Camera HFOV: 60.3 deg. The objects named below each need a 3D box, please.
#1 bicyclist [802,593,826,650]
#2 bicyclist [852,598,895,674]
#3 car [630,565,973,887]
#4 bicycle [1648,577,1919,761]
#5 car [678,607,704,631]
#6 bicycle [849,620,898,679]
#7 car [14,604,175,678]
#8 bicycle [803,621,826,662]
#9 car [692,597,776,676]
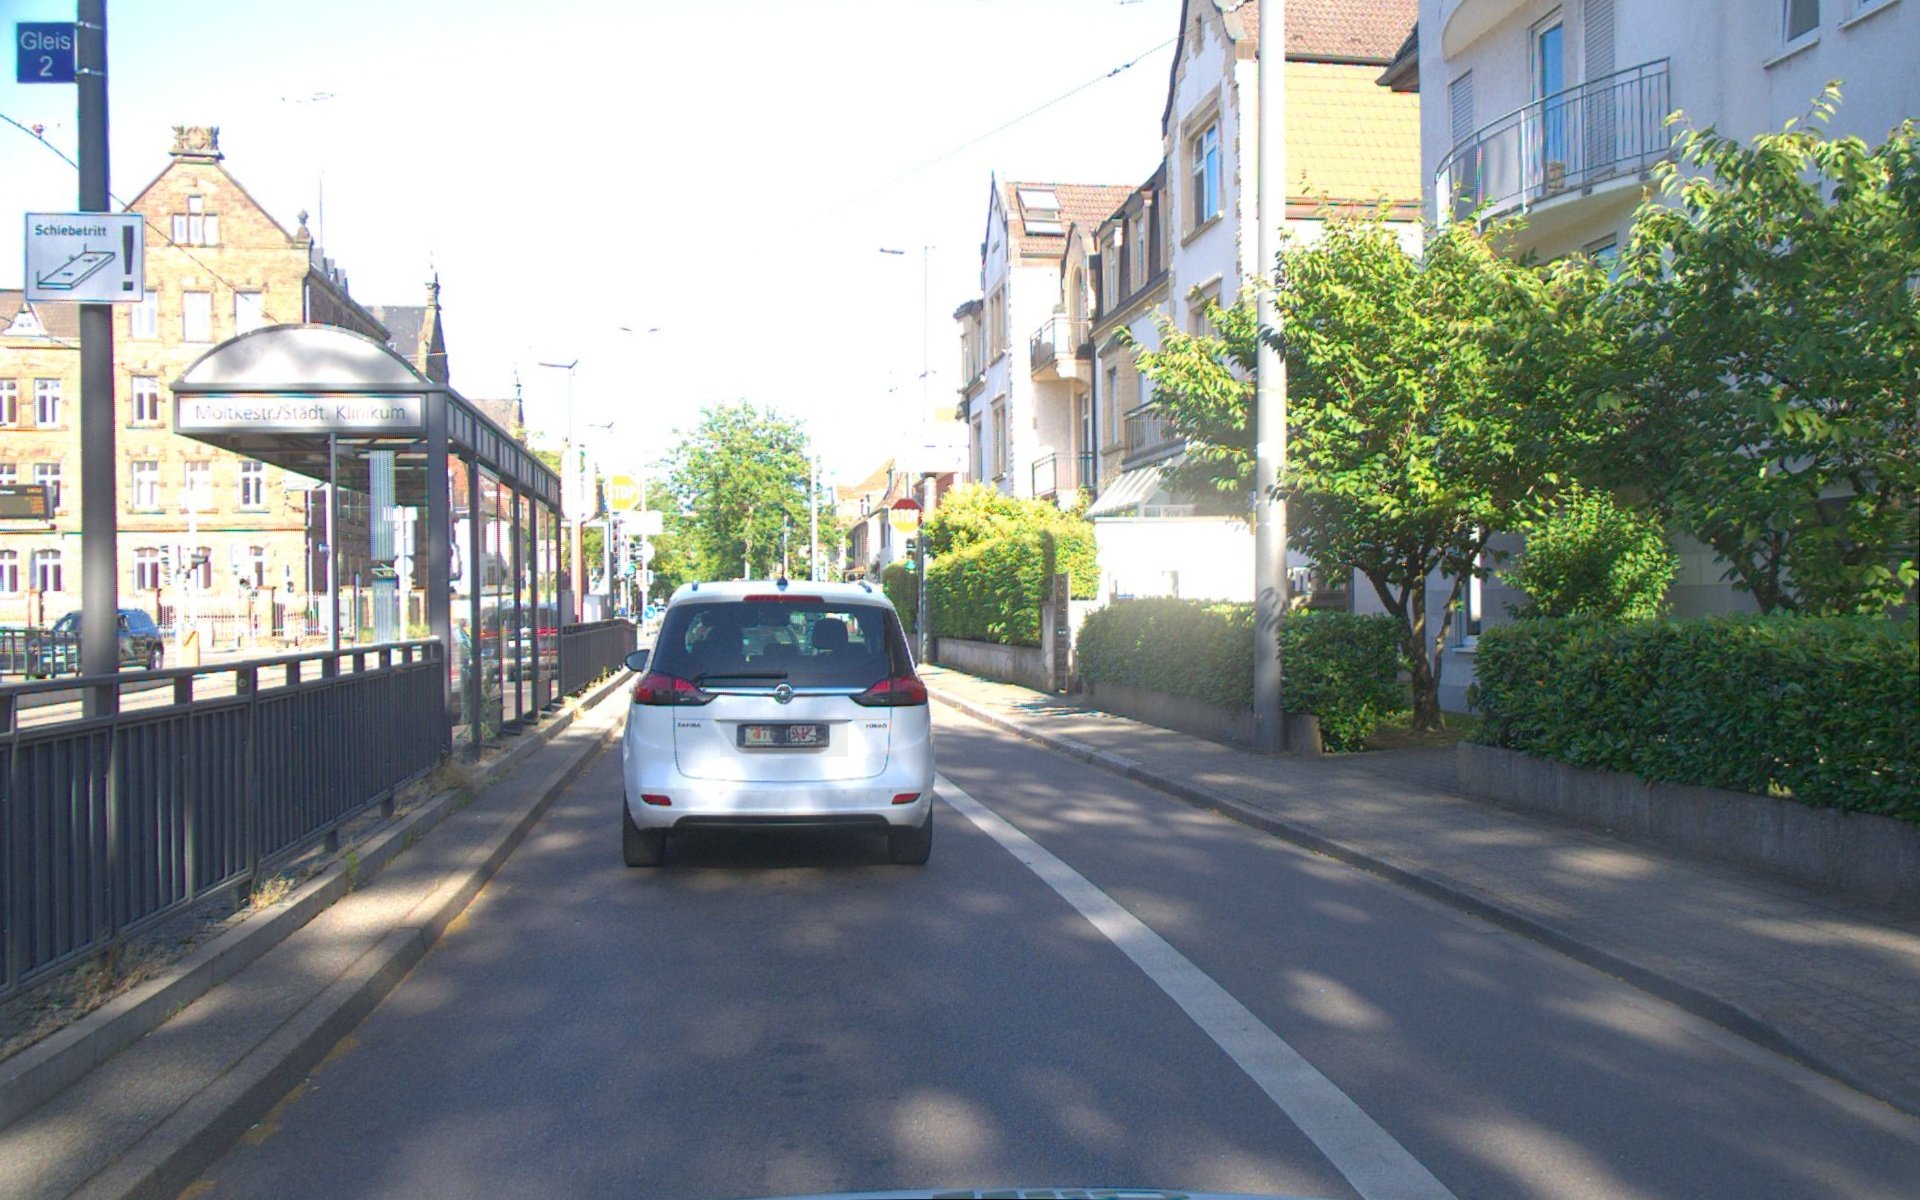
[{"bbox_3d":[-4.310,0.647,48.862,0.672,1.663,1.014,0,-1,-6],"label":"bicyclist"},{"bbox_3d":[-1.788,0.732,34.129,0.806,1.528,0.932,0,-1,-9],"label":"bicyclist"},{"bbox_3d":[-1.080,0.674,10.697,1.800,1.671,3.911,0,-1,-8],"label":"car"},{"bbox_3d":[6.382,0.509,12.698,1.807,1.224,0.823,-4,0,-10],"label":"bicycle"},{"bbox_3d":[-20.294,1.438,125.004,1.742,1.722,3.875,0,-1,-6],"label":"car"},{"bbox_3d":[-1.817,1.007,34.332,0.814,1.175,2.090,0,-1,-9],"label":"bicycle"},{"bbox_3d":[-21.334,0.962,40.969,1.868,1.706,4.355,-1,0,-3],"label":"car"},{"bbox_3d":[-4.307,1.211,48.880,0.672,1.177,1.617,0,-1,-6],"label":"bicycle"},{"bbox_3d":[-5.056,0.787,36.968,1.743,1.660,3.873,0,-1,-8],"label":"car"}]
